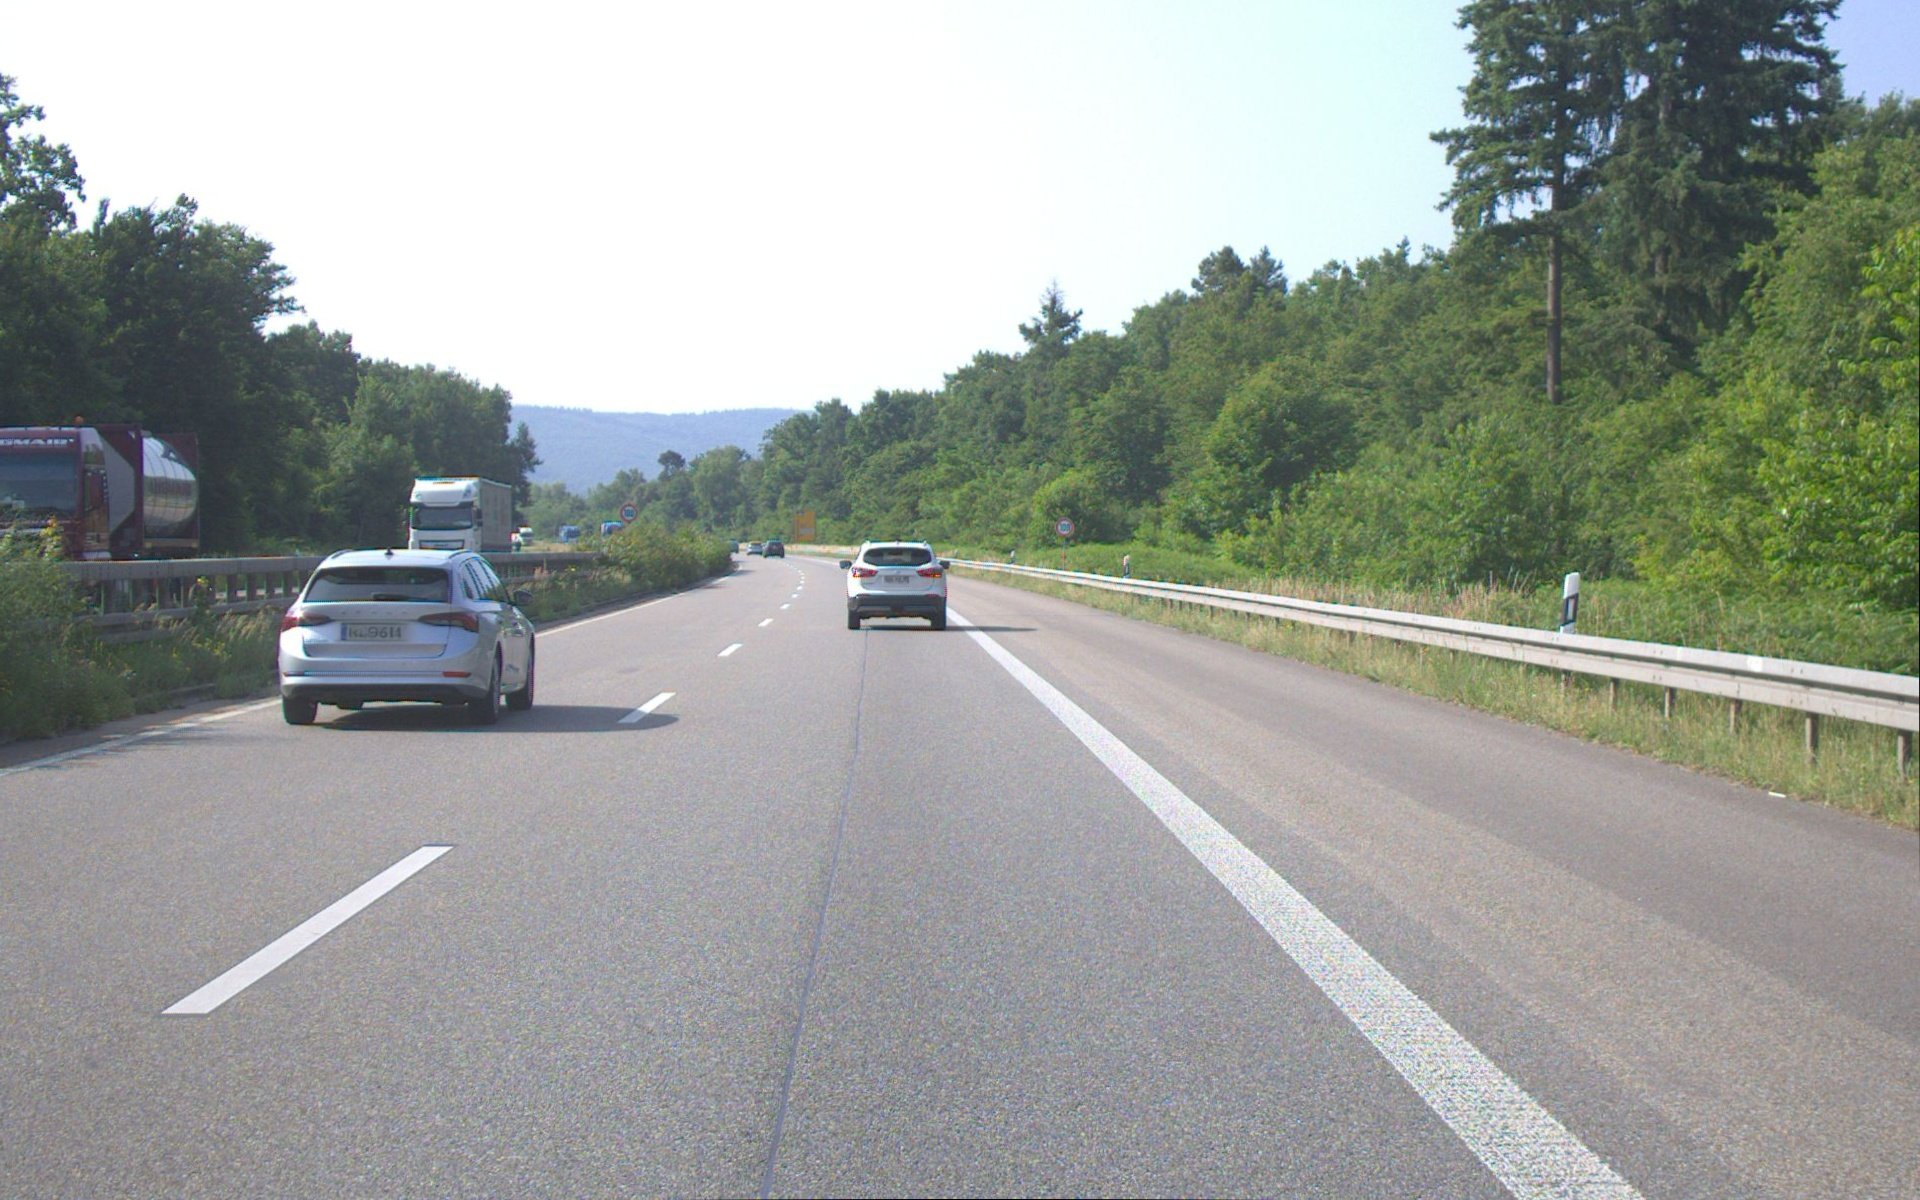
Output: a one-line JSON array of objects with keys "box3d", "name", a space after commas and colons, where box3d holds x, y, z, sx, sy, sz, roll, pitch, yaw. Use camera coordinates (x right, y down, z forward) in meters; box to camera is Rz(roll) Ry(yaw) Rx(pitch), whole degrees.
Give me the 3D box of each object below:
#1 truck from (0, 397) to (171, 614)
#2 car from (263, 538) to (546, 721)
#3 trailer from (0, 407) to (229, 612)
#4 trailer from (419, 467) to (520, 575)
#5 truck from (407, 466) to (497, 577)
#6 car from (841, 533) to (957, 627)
[{"box3d": [-17.679, -1.797, 67.139, 3.266, 4.025, 6.234, 1, 0, -2], "name": "truck"}, {"box3d": [-4.749, 0.188, 30.083, 1.792, 1.433, 5.279, -1, 1, -2], "name": "car"}, {"box3d": [-17.830, -1.841, 72.331, 3.295, 4.025, 8.374, 1, 1, -1], "name": "trailer"}, {"box3d": [-19.978, -3.184, 140.725, 2.832, 4.194, 12.413, -1, 1, -2], "name": "trailer"}, {"box3d": [-19.656, -3.041, 133.194, 2.837, 4.181, 5.547, -1, 1, -2], "name": "truck"}, {"box3d": [-1.142, -0.391, 62.946, 1.873, 1.581, 4.001, 2, 1, -4], "name": "car"}]
